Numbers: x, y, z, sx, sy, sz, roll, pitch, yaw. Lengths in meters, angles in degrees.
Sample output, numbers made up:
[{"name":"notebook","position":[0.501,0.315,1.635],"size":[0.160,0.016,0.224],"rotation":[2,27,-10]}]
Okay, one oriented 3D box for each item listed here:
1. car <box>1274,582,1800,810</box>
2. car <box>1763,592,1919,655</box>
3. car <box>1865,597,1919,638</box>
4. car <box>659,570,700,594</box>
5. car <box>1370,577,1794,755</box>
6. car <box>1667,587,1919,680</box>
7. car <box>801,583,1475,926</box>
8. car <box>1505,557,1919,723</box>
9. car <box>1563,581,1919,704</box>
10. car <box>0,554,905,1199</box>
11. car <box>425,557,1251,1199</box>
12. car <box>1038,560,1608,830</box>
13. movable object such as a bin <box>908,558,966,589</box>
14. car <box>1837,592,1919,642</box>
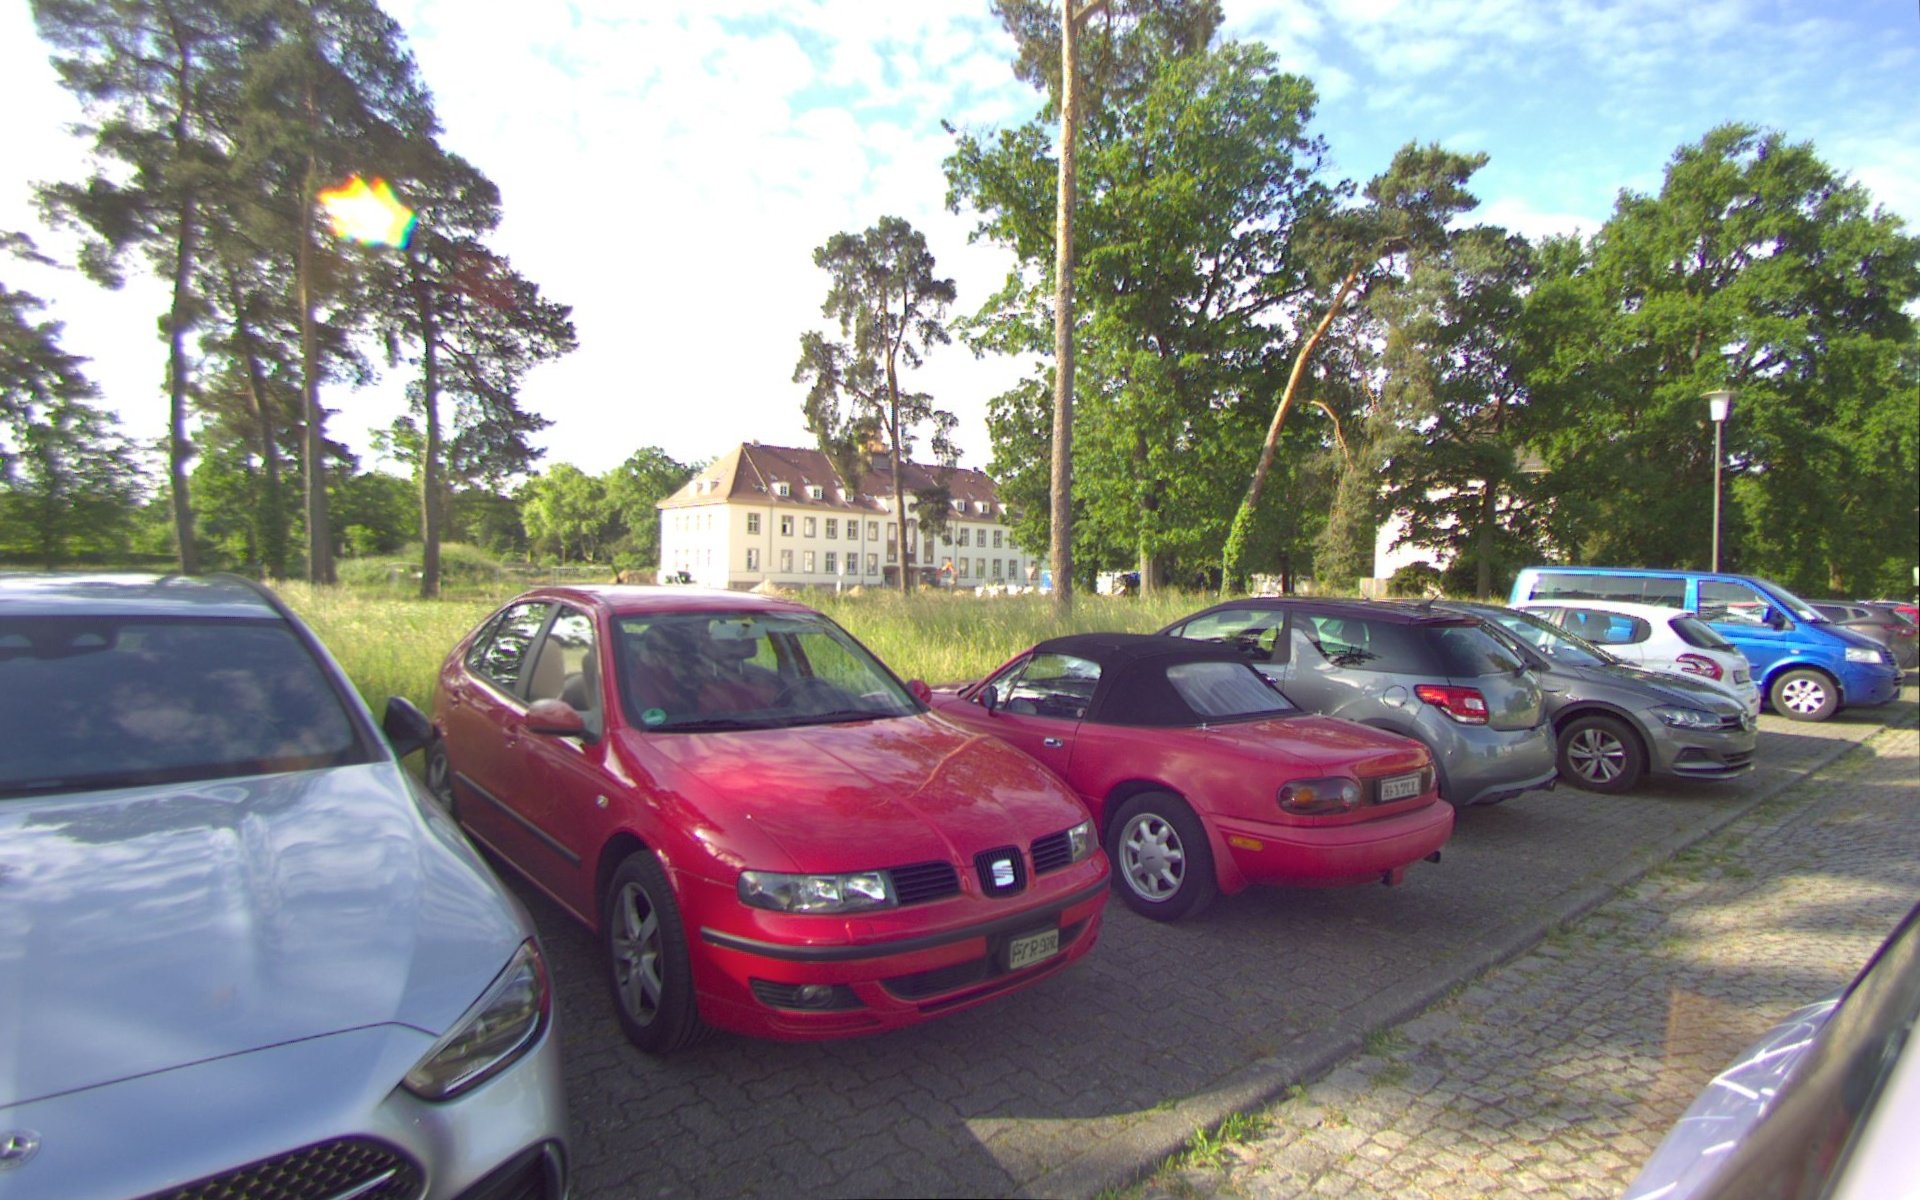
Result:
[{"name":"car","position":[5.015,0.662,9.177],"size":[1.823,1.467,3.716],"rotation":[1,2,-40]},{"name":"car","position":[24.784,0.633,27.726],"size":[1.821,1.477,4.094],"rotation":[1,2,-42]},{"name":"car","position":[36.036,0.715,37.061],"size":[1.754,1.440,4.094],"rotation":[1,2,-42]},{"name":"car","position":[-27.895,-1.791,100.592],"size":[1.967,2.241,4.421],"rotation":[-1,0,-44]},{"name":"car","position":[6.890,0.595,11.512],"size":[1.730,1.553,3.716],"rotation":[1,2,-40]},{"name":"car","position":[17.318,0.602,20.843],"size":[1.902,1.617,4.230],"rotation":[-1,2,-43]},{"name":"car","position":[0.775,0.608,6.058],"size":[1.715,1.238,3.716],"rotation":[1,2,-40]},{"name":"car","position":[10.926,0.420,14.871],"size":[1.965,1.959,4.708],"rotation":[0,3,-41]},{"name":"car","position":[12.780,0.578,16.740],"size":[1.905,1.596,4.406],"rotation":[0,3,-41]},{"name":"car","position":[-2.200,0.647,2.770],"size":[1.749,1.432,4.442],"rotation":[1,2,-40]},{"name":"car","position":[-0.980,0.615,4.490],"size":[1.607,1.467,4.137],"rotation":[1,2,-40]},{"name":"car","position":[2.567,0.500,7.815],"size":[1.784,1.467,3.715],"rotation":[1,2,-41]},{"name":"movable object such as a bin","position":[-2.578,-2.983,116.161],"size":[6.336,3.343,2.862],"rotation":[-1,0,6]},{"name":"car","position":[32.528,0.615,34.236],"size":[1.821,1.576,4.094],"rotation":[1,2,-42]}]
